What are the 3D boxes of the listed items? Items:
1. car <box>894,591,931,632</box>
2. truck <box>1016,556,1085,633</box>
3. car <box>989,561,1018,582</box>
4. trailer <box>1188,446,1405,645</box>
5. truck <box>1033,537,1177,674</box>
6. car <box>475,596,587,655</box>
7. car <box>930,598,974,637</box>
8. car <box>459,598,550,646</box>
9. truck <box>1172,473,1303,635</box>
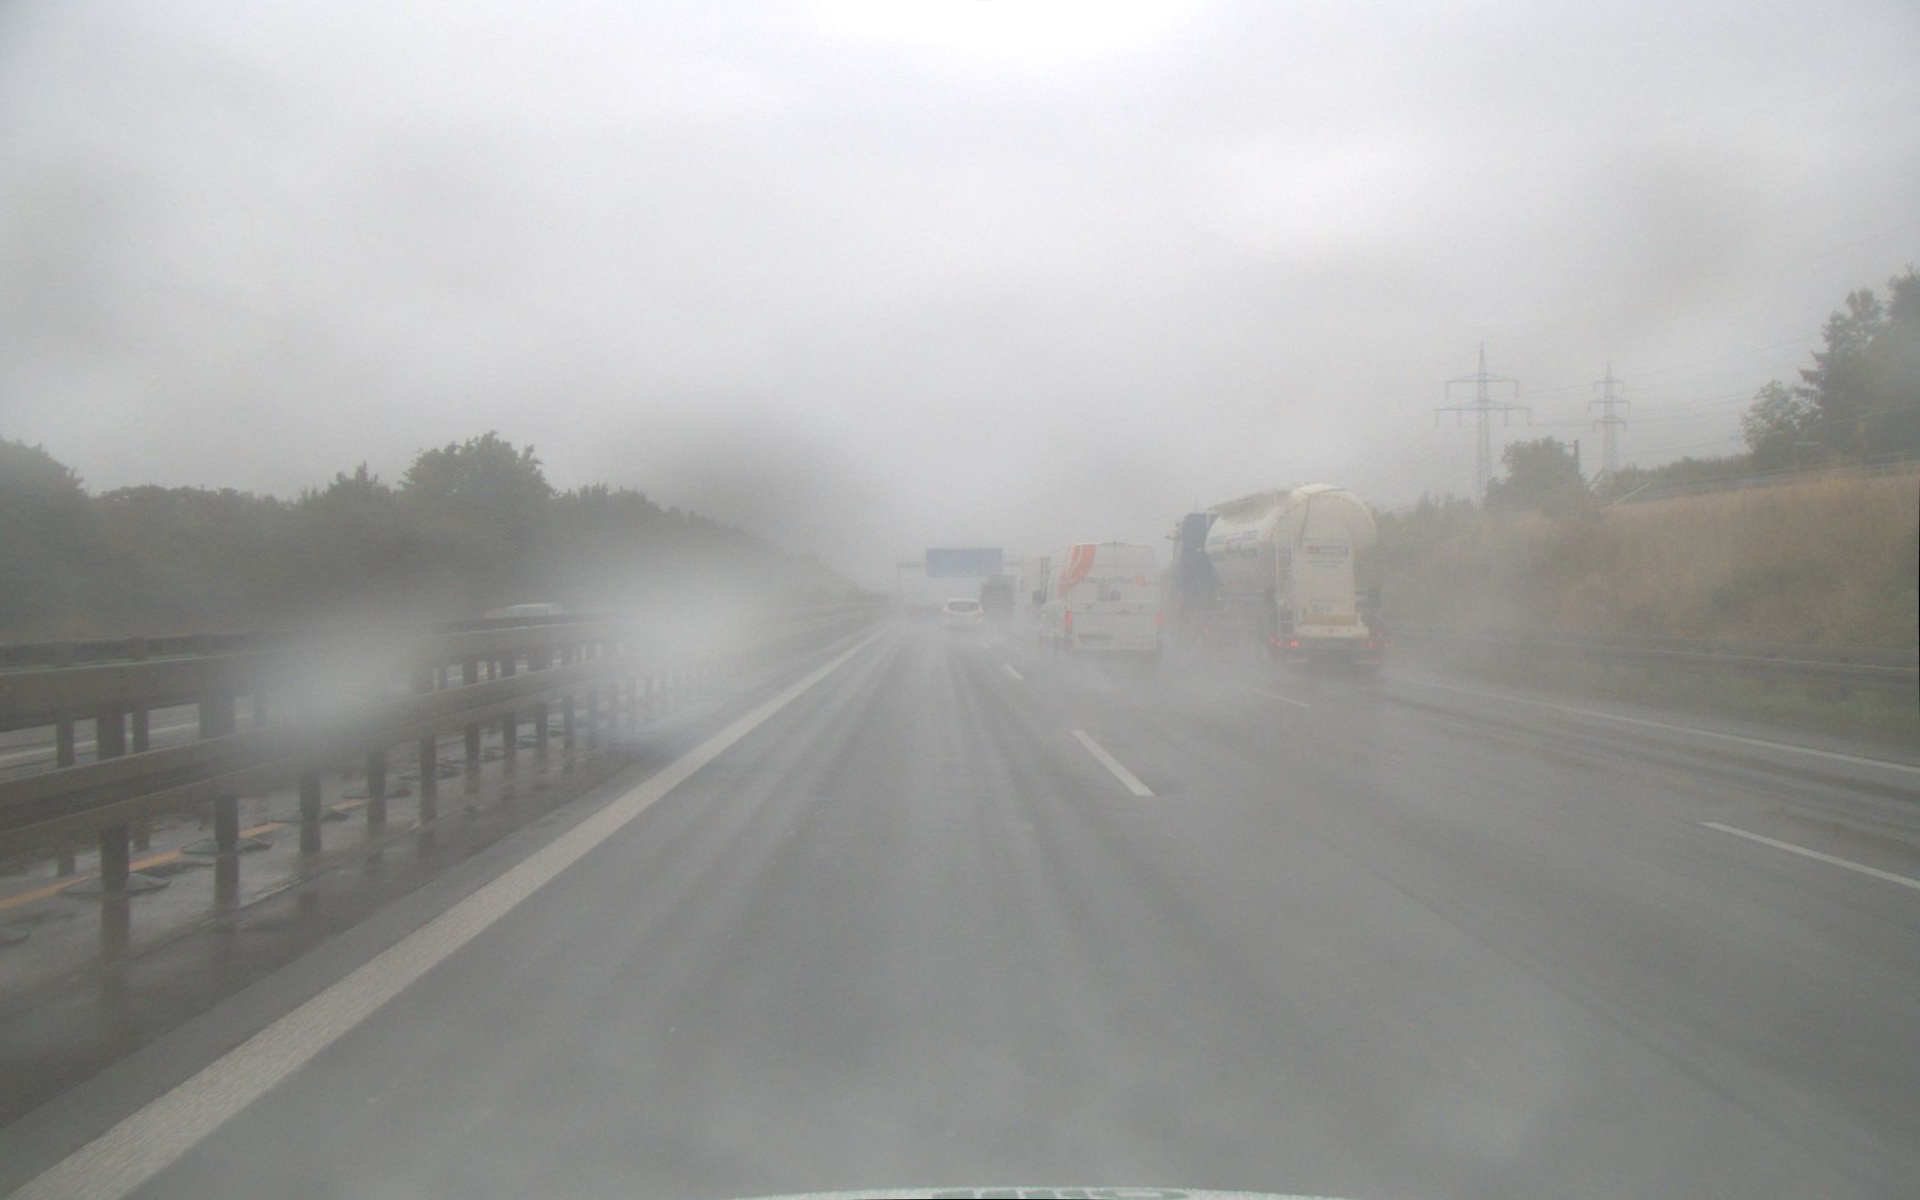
[{"bbox_3d":[-2.228,0.528,78.910,1.667,1.850,3.861,1,0,-1],"label":"car"},{"bbox_3d":[5.817,-0.228,109.464,2.979,4.668,16.342,1,-1,-2],"label":"truck"},{"bbox_3d":[4.441,-2.882,169.662,2.732,2.049,4.991,1,0,-2],"label":"car"},{"bbox_3d":[7.544,-1.121,38.803,2.447,3.950,11.062,1,0,-2],"label":"trailer"},{"bbox_3d":[2.854,0.087,33.898,2.370,2.536,5.559,1,0,-1],"label":"truck"},{"bbox_3d":[-11.813,0.656,45.841,1.953,1.459,4.646,1,1,-1],"label":"car"},{"bbox_3d":[-0.338,0.643,62.476,1.573,1.361,3.847,1,0,-2],"label":"car"},{"bbox_3d":[-15.683,0.742,57.173,1.953,1.539,4.646,1,0,-1],"label":"car"},{"bbox_3d":[7.343,-1.167,44.334,2.446,4.053,5.074,1,0,-2],"label":"truck"}]
